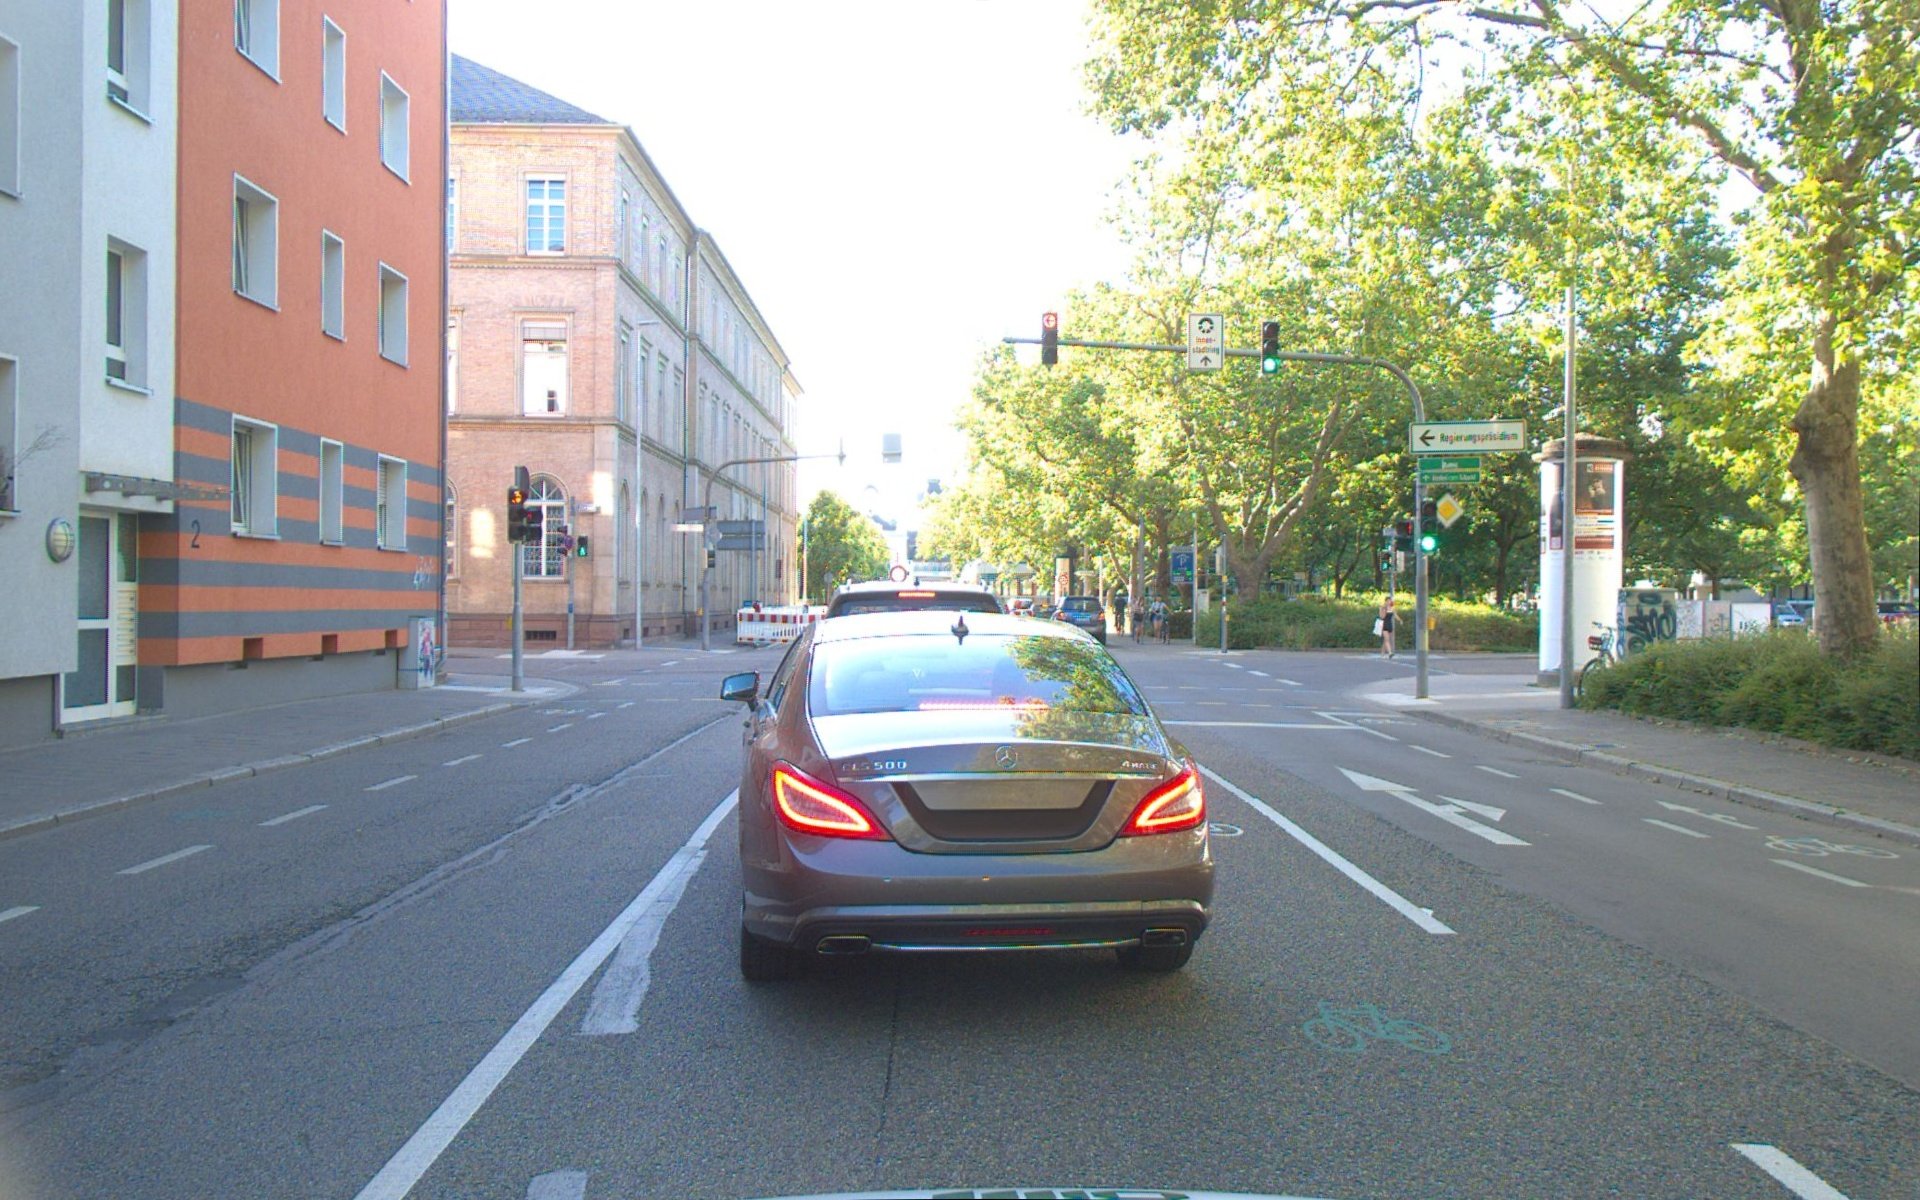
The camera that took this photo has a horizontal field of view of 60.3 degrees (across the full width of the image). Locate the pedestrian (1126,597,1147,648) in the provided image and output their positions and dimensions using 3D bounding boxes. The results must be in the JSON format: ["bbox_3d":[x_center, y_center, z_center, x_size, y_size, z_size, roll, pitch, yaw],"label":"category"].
[{"bbox_3d":[6.456,0.823,60.664,0.623,1.828,0.698,1,-1,-5],"label":"pedestrian"}]

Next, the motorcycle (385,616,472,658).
[{"bbox_3d":[-12.353,0.845,38.416,2.014,0.908,0.754,1,0,29],"label":"motorcycle"}]

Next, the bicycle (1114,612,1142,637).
[{"bbox_3d":[6.635,0.972,65.431,0.811,0.940,2.616,1,0,-1],"label":"bicycle"}]

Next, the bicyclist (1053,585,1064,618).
[{"bbox_3d":[6.248,0.088,105.039,0.583,2.075,0.565,1,-1,-5],"label":"bicyclist"}]

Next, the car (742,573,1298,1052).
[{"bbox_3d":[-0.037,0.688,7.453,1.826,1.545,3.993,1,0,-8],"label":"car"}]

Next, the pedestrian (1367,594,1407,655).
[{"bbox_3d":[11.268,0.642,43.654,0.625,1.572,0.906,1,-1,-16],"label":"pedestrian"}]

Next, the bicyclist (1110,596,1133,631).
[{"bbox_3d":[6.716,0.571,68.903,0.719,1.422,0.697,1,-1,28],"label":"bicyclist"}]

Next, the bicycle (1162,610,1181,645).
[{"bbox_3d":[7.743,1.000,60.542,0.472,1.223,1.606,1,0,-1],"label":"bicycle"}]

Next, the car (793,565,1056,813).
[{"bbox_3d":[-0.274,0.617,13.581,1.823,1.712,3.999,1,0,-1],"label":"car"}]

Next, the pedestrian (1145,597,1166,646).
[{"bbox_3d":[7.163,0.778,60.603,0.623,1.791,0.698,1,-1,-5],"label":"pedestrian"}]

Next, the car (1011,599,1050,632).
[{"bbox_3d":[3.422,0.738,80.867,1.670,1.545,3.999,1,0,-1],"label":"car"}]

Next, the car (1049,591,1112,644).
[{"bbox_3d":[4.286,0.590,59.391,1.823,1.794,4.481,1,0,-1],"label":"car"}]

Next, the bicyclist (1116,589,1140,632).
[{"bbox_3d":[6.642,0.417,65.354,0.808,1.646,0.957,1,0,-1],"label":"bicyclist"}]

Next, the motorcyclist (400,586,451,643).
[{"bbox_3d":[-12.439,0.337,38.502,0.785,1.317,0.788,1,-1,28],"label":"motorcyclist"}]

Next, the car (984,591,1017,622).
[{"bbox_3d":[2.300,0.389,94.519,1.696,1.691,3.680,1,0,-1],"label":"car"}]

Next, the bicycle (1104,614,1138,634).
[{"bbox_3d":[6.718,0.991,68.922,0.709,0.805,1.925,1,0,27],"label":"bicycle"}]

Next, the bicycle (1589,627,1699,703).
[{"bbox_3d":[9.866,0.922,23.827,1.868,1.046,0.633,1,-1,-39],"label":"bicycle"}]
